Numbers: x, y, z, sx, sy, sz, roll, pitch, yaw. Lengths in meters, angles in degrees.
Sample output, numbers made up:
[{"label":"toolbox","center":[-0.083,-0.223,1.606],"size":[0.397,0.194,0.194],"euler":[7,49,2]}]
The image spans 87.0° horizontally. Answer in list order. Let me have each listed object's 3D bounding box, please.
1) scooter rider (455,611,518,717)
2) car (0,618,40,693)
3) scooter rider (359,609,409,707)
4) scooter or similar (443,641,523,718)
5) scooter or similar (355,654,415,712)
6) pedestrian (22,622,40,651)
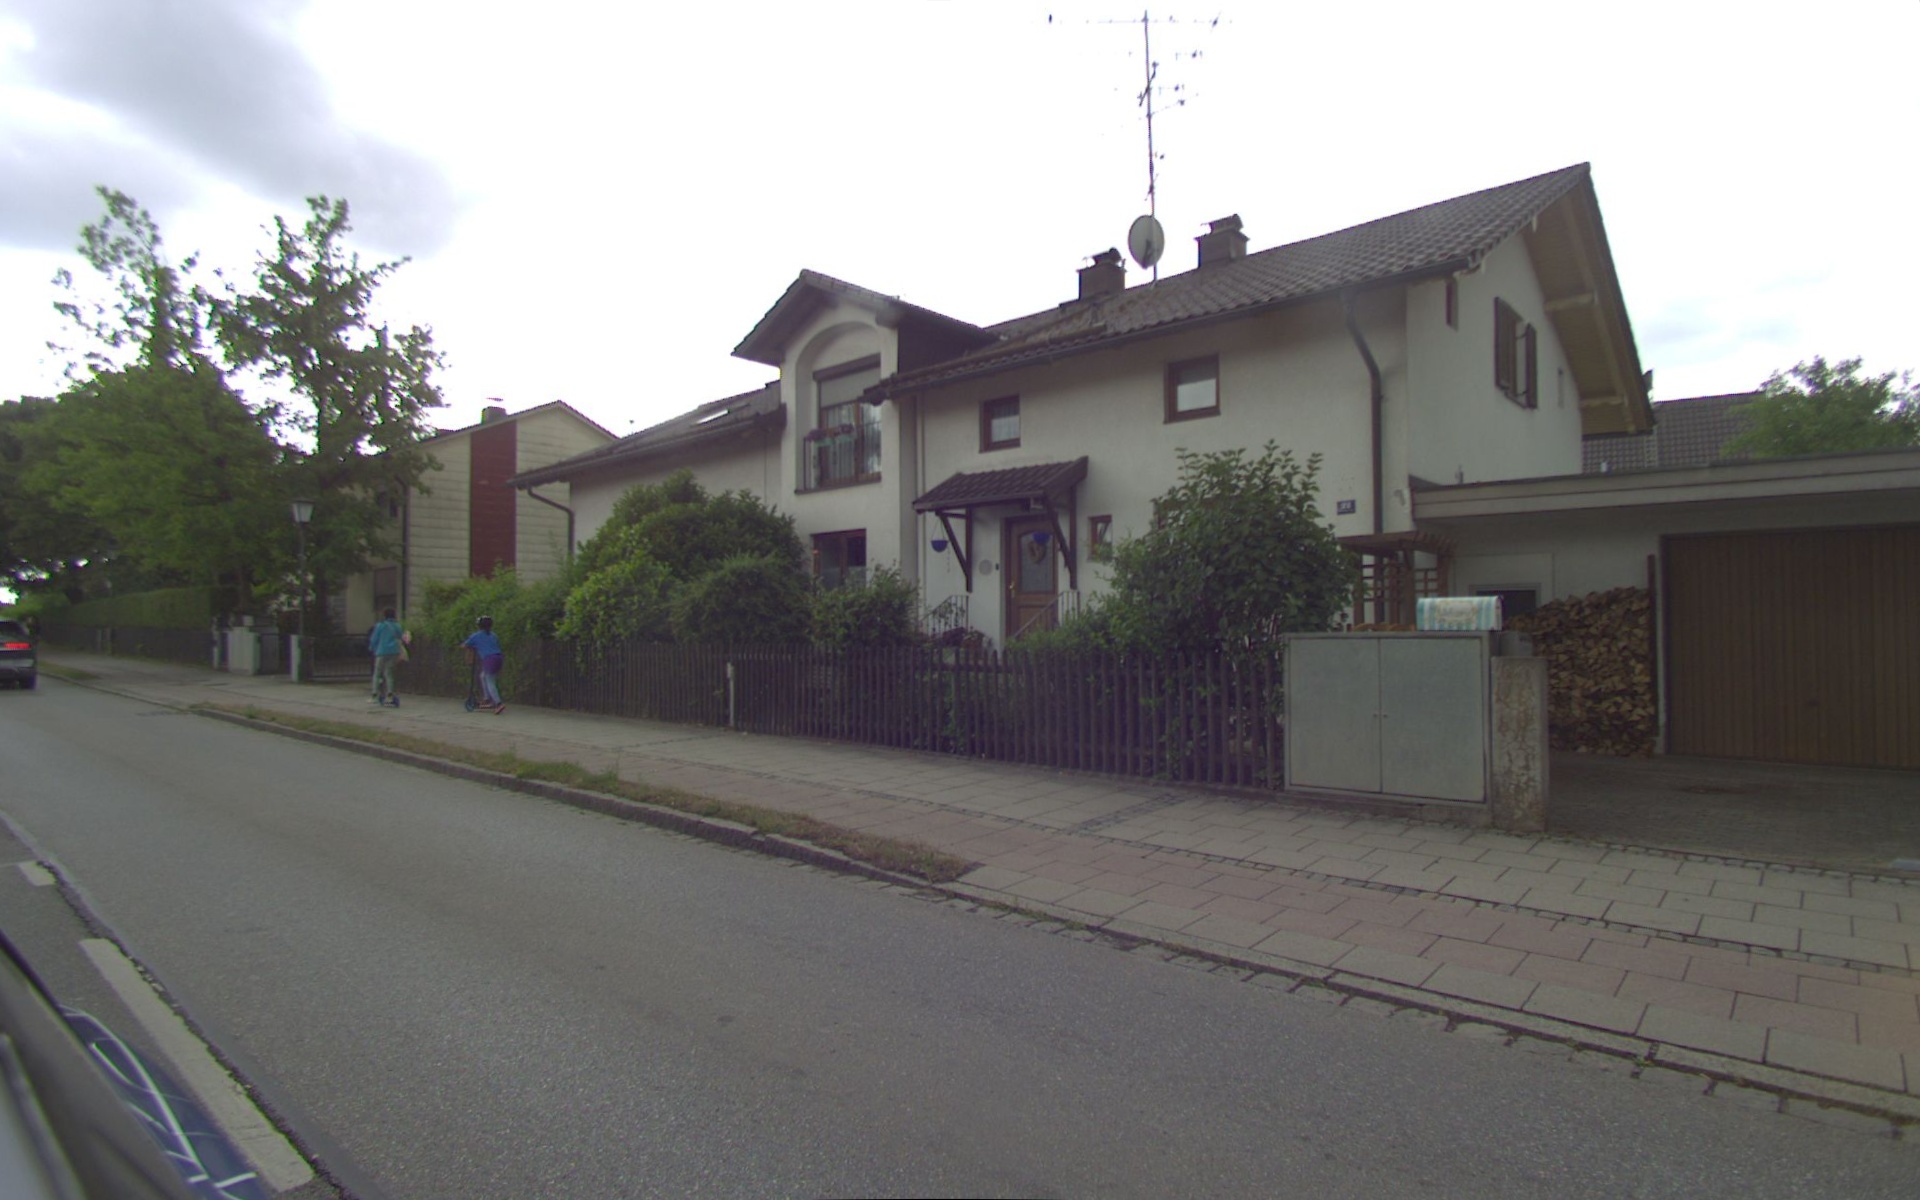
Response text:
[{"label":"scooter rider","center":[-6.838,0.908,14.614],"size":[0.580,1.484,0.655],"euler":[-2,-2,41]},{"label":"car","center":[-22.214,1.202,22.622],"size":[4.309,1.587,1.910],"euler":[-1,-3,41]},{"label":"scooter rider","center":[-9.108,0.904,15.996],"size":[0.716,1.501,0.497],"euler":[-2,-1,42]},{"label":"scooter or similar","center":[-6.925,1.133,14.688],"size":[1.178,1.045,0.654],"euler":[-2,-2,42]},{"label":"scooter or similar","center":[-9.098,1.299,16.000],"size":[1.061,0.856,0.516],"euler":[-1,-1,42]},{"label":"pedestrian","center":[-48.088,1.891,52.379],"size":[0.563,1.448,0.623],"euler":[-2,-2,41]}]
